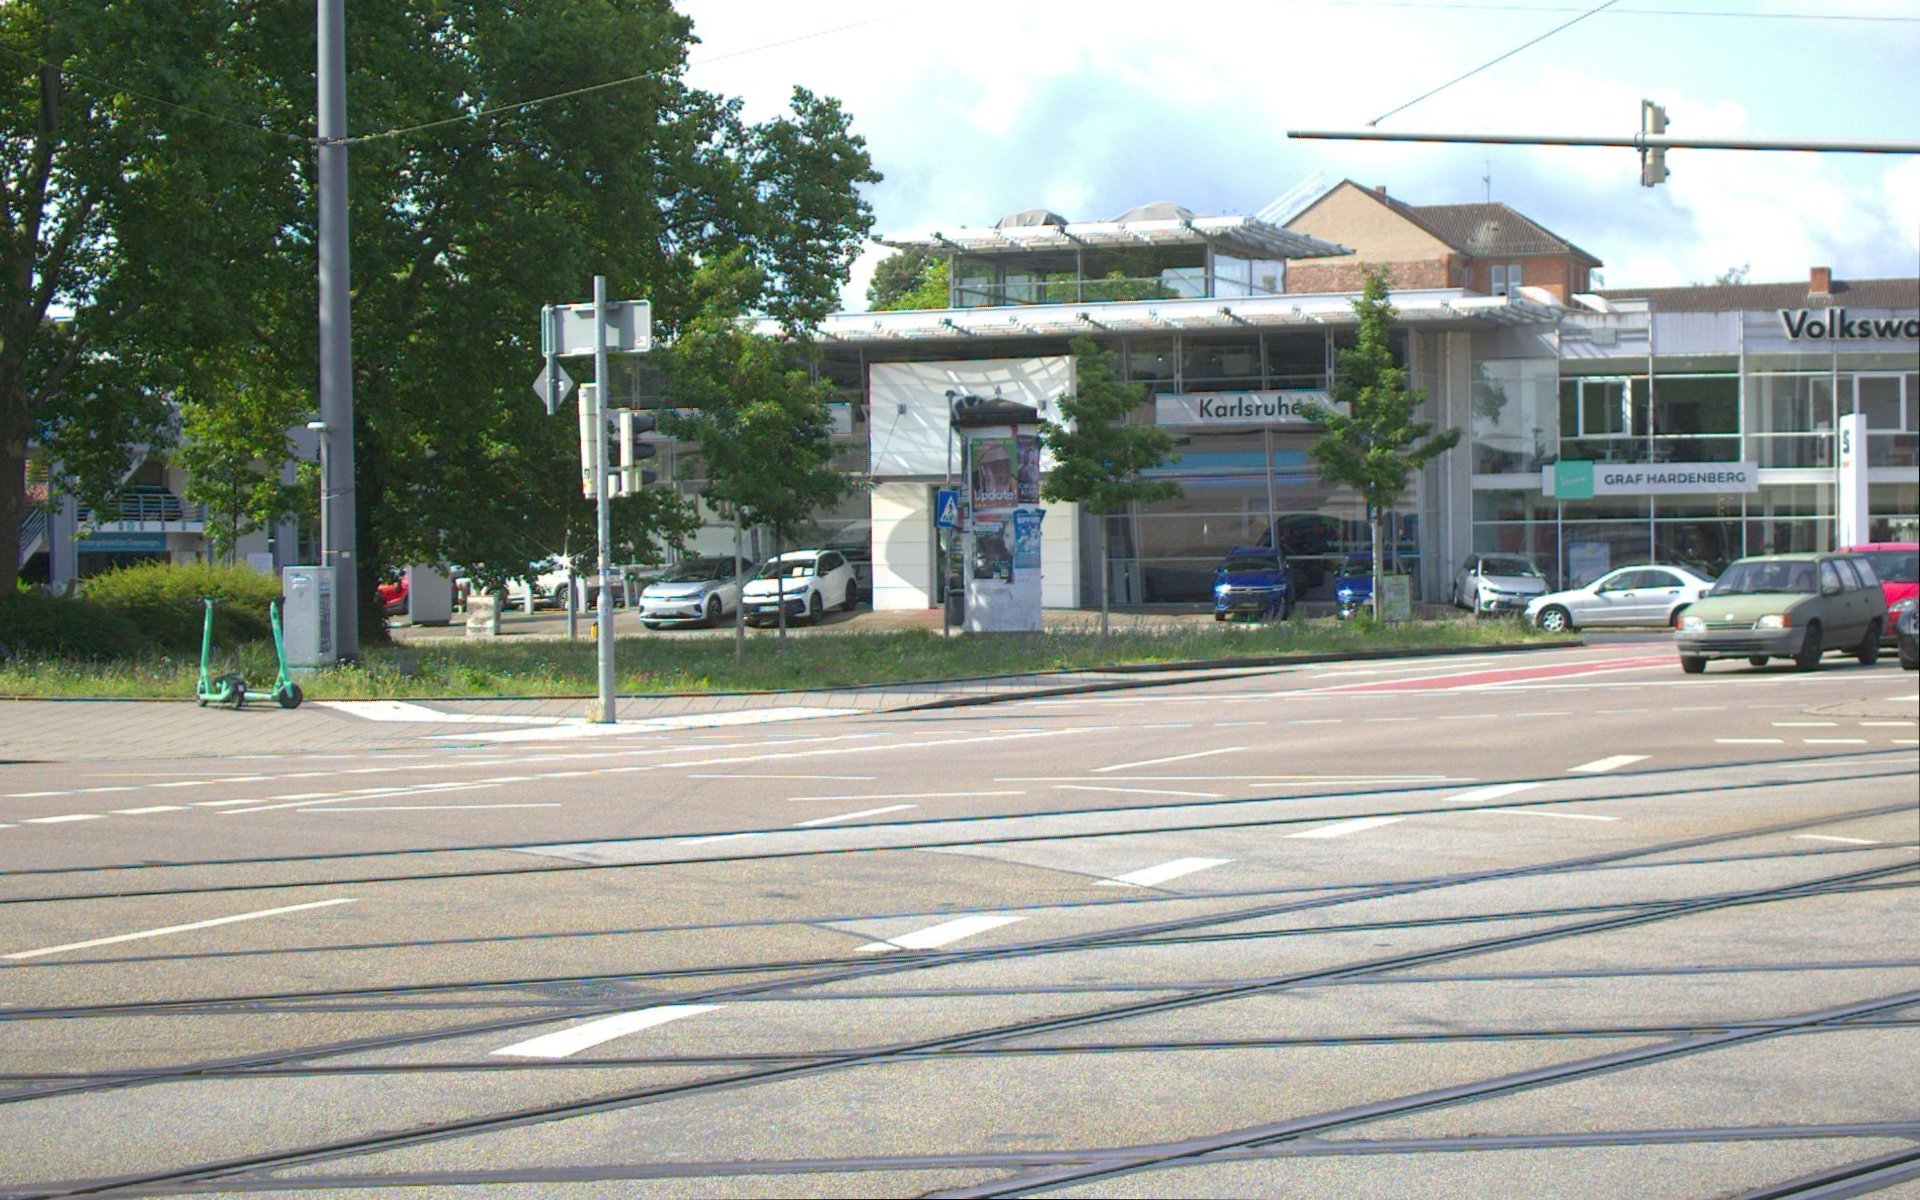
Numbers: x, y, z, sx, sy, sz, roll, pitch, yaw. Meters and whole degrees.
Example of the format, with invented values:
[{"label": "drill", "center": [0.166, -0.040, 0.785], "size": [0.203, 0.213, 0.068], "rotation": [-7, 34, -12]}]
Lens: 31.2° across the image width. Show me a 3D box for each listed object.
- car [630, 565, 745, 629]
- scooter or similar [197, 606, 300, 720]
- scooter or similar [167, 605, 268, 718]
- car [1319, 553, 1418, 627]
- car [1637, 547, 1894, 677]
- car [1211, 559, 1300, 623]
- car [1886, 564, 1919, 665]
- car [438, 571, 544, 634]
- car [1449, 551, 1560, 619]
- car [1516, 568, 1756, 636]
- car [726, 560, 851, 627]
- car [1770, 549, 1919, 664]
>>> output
[{"label": "car", "center": [-6.833, -0.086, 86.493], "size": [1.994, 1.568, 3.999], "rotation": [0, 0, 9]}, {"label": "scooter or similar", "center": [-7.416, 0.654, 35.844], "size": [0.927, 1.154, 0.381], "rotation": [1, 3, -39]}, {"label": "scooter or similar", "center": [-7.831, 0.652, 36.267], "size": [0.926, 1.154, 0.382], "rotation": [2, 3, -27]}, {"label": "car", "center": [9.546, -0.257, 80.132], "size": [1.920, 1.439, 3.999], "rotation": [2, 4, 12]}, {"label": "car", "center": [9.914, 0.118, 42.137], "size": [1.824, 1.508, 3.993], "rotation": [0, 1, 33]}, {"label": "car", "center": [7.034, -0.226, 81.525], "size": [1.920, 1.440, 3.999], "rotation": [-1, 1, 7]}, {"label": "car", "center": [12.412, 0.149, 40.752], "size": [1.624, 1.157, 3.993], "rotation": [0, 1, 33]}, {"label": "car", "center": [-11.980, 0.048, 88.089], "size": [1.682, 1.590, 3.999], "rotation": [0, 0, 8]}, {"label": "car", "center": [12.848, -0.369, 80.995], "size": [1.921, 1.546, 3.996], "rotation": [-1, 1, 19]}, {"label": "car", "center": [13.829, 0.034, 70.272], "size": [4.539, 1.349, 1.998], "rotation": [0, 0, 21]}, {"label": "car", "center": [-4.214, -0.181, 85.343], "size": [2.068, 1.598, 3.998], "rotation": [-1, 1, 13]}, {"label": "car", "center": [12.819, 0.065, 47.354], "size": [1.997, 1.514, 3.993], "rotation": [0, 1, 33]}]
